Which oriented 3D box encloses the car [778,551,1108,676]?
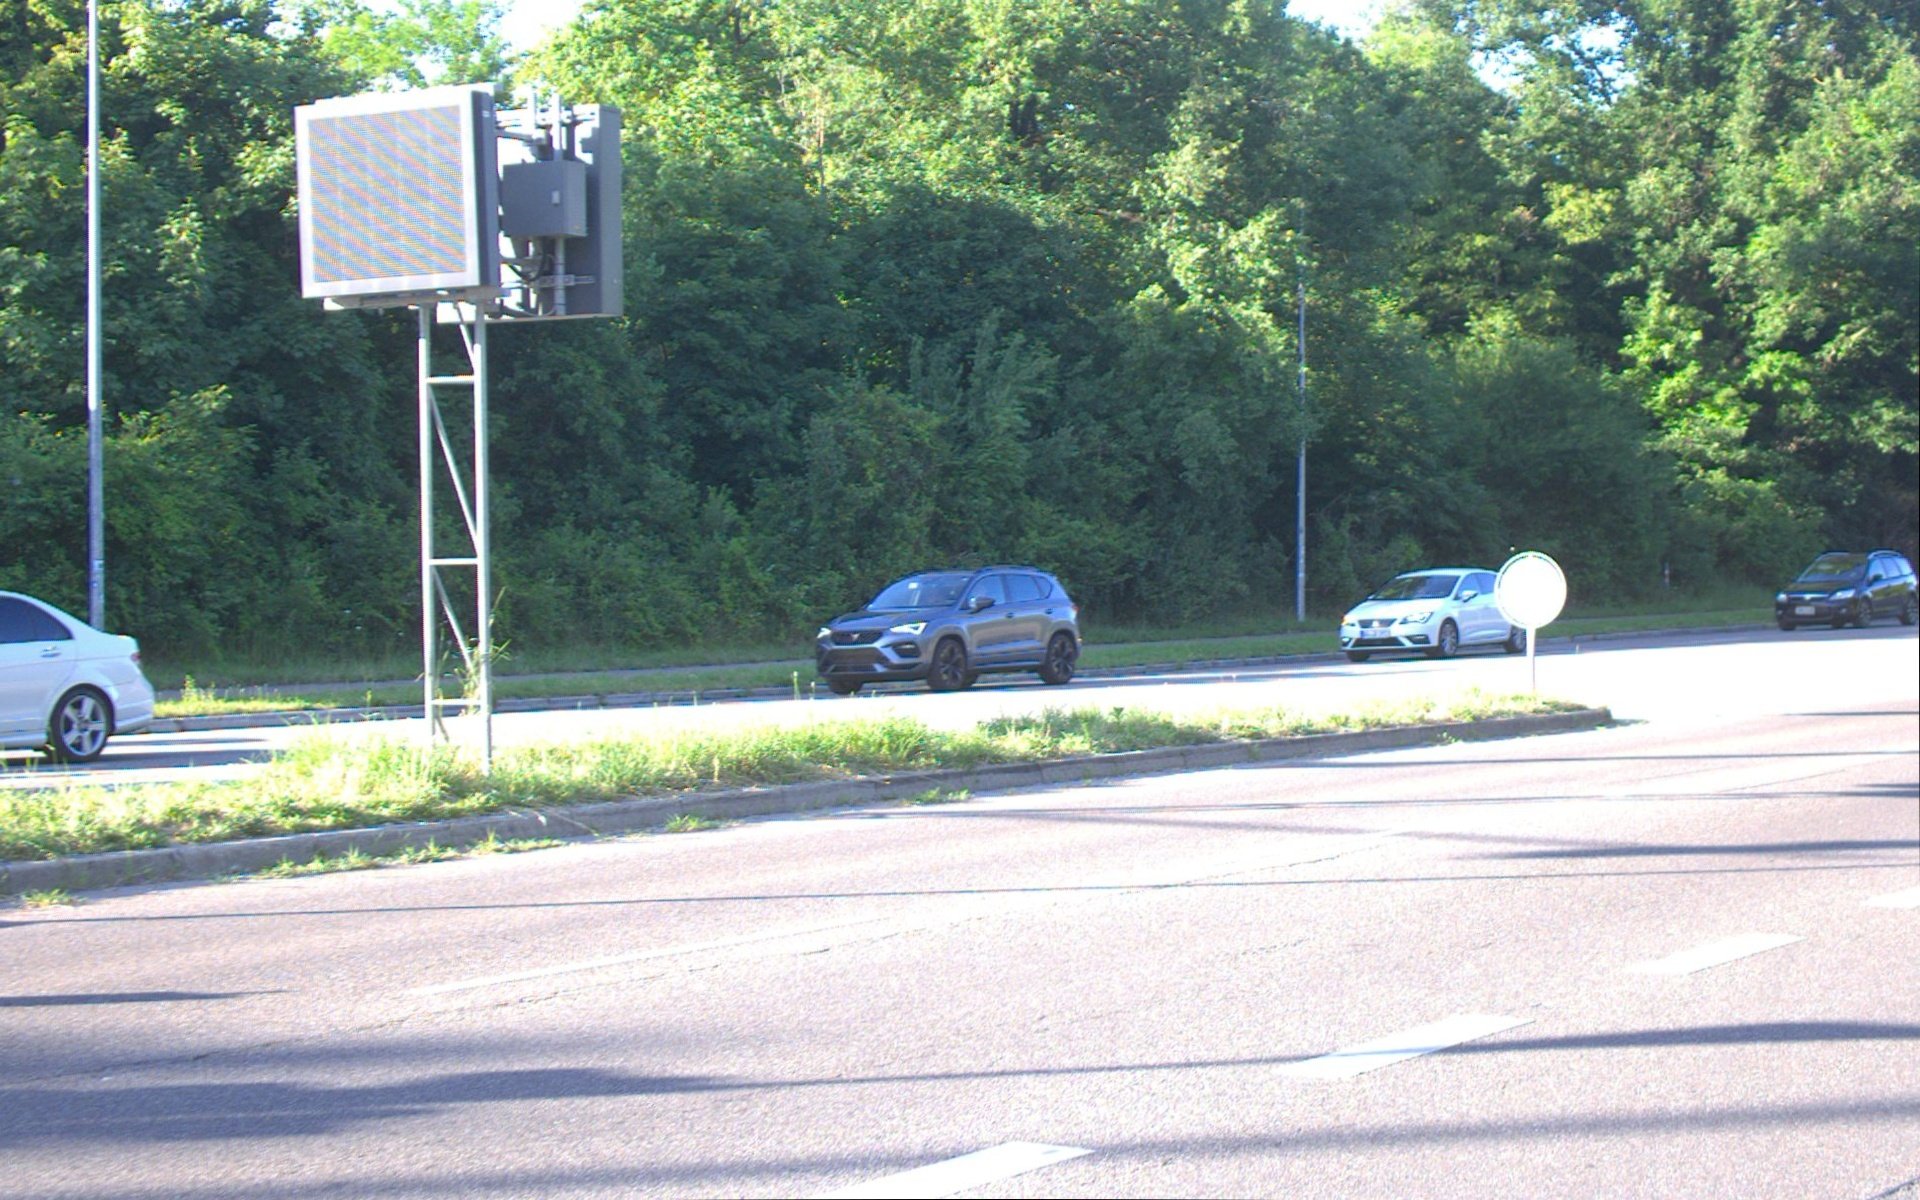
[{"bbox_3d":[-0.159,0.134,45.007,1.997,1.524,4.642,0,1,35],"label":"car"}]

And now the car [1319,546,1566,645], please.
[{"bbox_3d":[7.957,-0.106,56.355,1.998,1.524,4.641,0,1,37],"label":"car"}]

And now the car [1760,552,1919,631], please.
[{"bbox_3d":[18.188,-0.202,69.871,1.998,1.524,4.641,0,1,38],"label":"car"}]

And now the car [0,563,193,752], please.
[{"bbox_3d":[-8.396,0.452,26.653,1.997,1.431,4.799,0,1,32],"label":"car"}]
